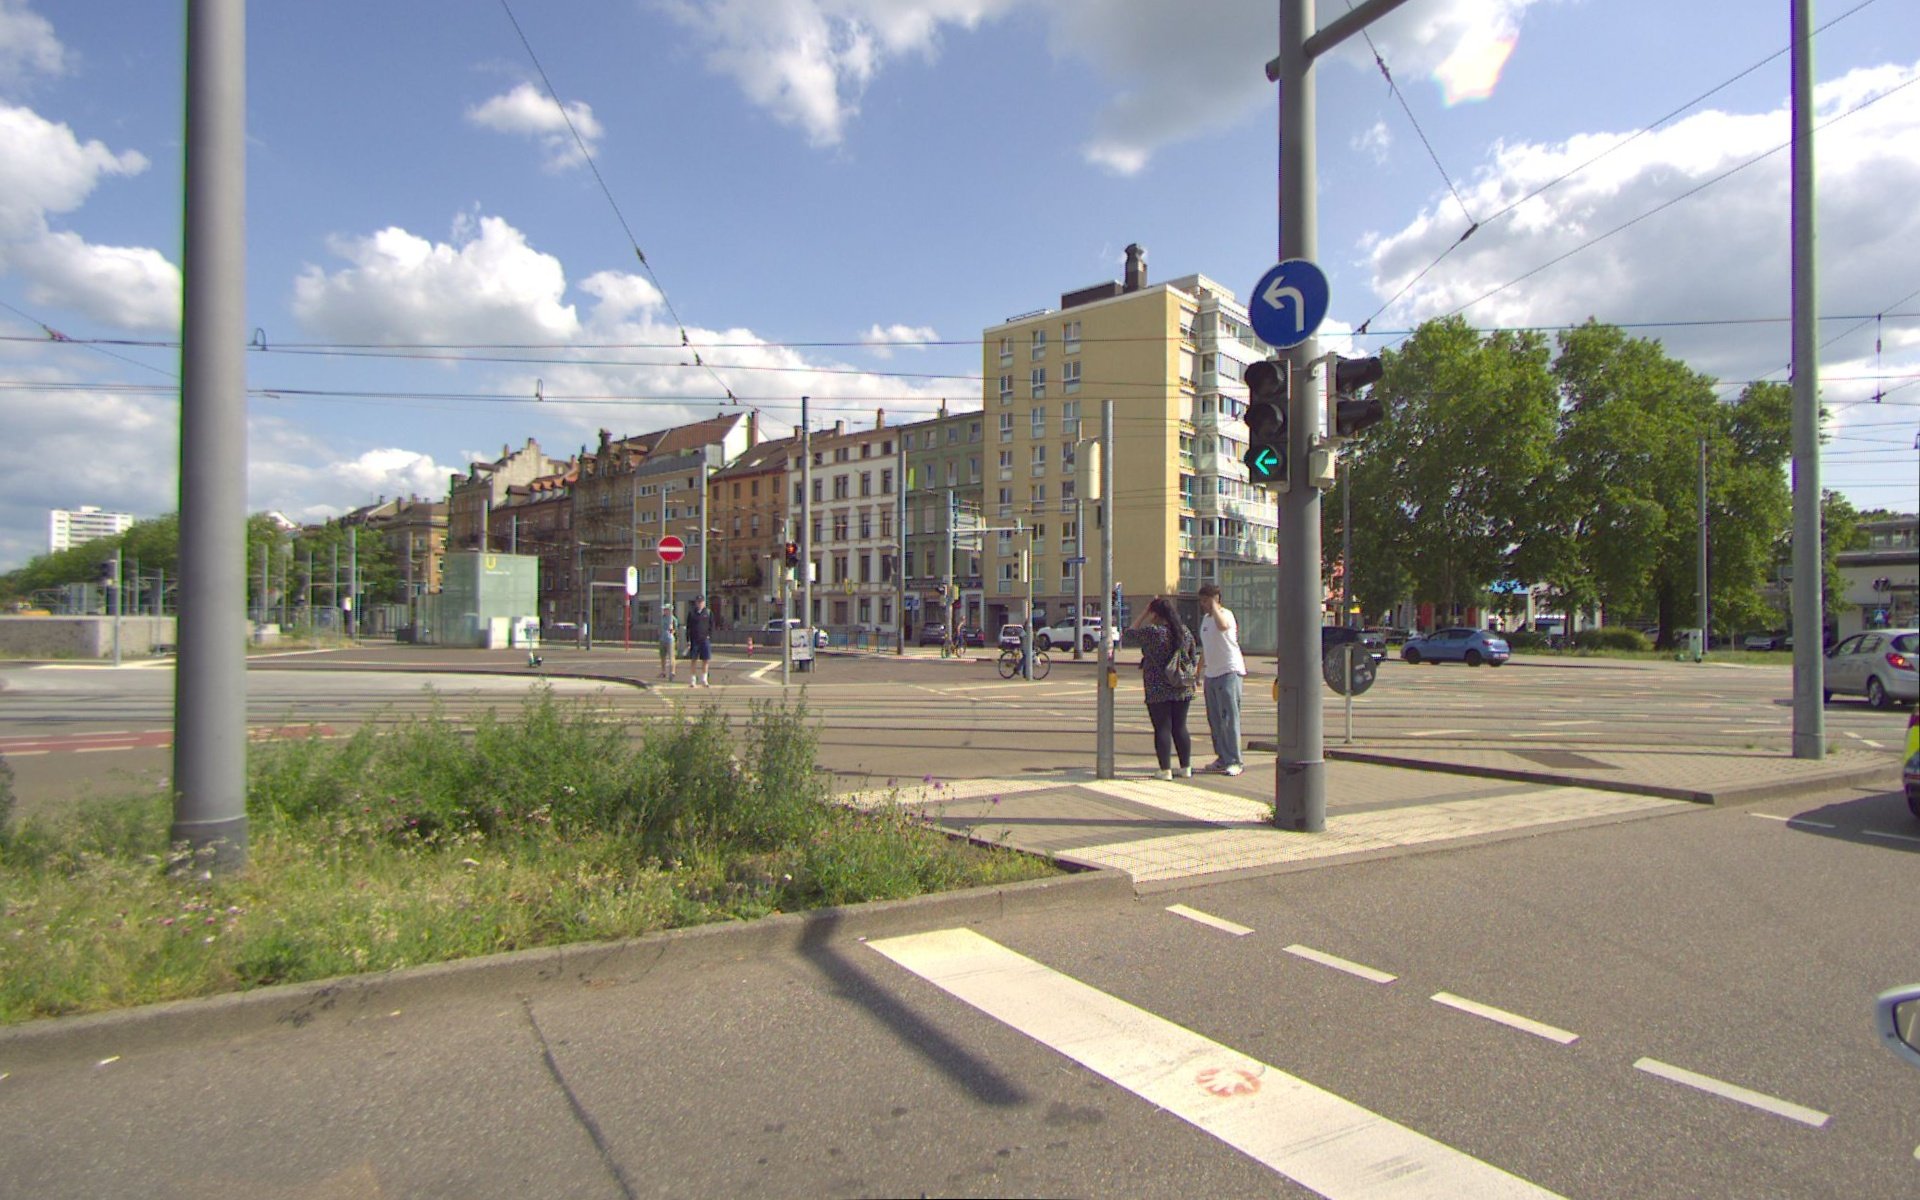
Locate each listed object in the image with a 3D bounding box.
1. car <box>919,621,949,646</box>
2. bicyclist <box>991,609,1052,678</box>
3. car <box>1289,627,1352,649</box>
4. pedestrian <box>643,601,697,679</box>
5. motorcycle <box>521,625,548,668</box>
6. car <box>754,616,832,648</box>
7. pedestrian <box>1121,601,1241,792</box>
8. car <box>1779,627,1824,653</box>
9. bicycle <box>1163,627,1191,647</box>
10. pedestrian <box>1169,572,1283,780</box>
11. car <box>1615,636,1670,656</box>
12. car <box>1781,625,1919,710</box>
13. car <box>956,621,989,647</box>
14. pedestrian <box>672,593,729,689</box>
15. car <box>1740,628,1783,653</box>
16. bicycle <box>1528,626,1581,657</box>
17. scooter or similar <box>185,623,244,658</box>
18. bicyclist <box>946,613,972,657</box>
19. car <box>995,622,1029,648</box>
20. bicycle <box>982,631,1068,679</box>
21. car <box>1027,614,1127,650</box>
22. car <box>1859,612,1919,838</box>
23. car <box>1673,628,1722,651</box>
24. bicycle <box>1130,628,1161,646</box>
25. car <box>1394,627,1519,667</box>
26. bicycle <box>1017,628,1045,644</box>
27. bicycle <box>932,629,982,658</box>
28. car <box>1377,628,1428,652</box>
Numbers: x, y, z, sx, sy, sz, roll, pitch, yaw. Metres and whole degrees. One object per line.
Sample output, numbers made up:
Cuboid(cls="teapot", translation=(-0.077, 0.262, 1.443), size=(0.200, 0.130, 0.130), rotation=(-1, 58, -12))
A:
Cuboid(cls="car", translation=(-1.678, 2.189, 65.359), size=(1.863, 1.516, 3.900), rotation=(2, -2, -2))
Cuboid(cls="bicyclist", translation=(1.615, 1.146, 26.357), size=(0.986, 1.754, 1.287), rotation=(2, -2, -38))
Cuboid(cls="car", translation=(26.221, 2.719, 73.041), size=(3.940, 1.515, 1.795), rotation=(0, -2, 40))
Cuboid(cls="pedestrian", translation=(-6.971, 0.952, 24.149), size=(1.017, 1.821, 0.761), rotation=(2, 0, -32))
Cuboid(cls="motorcycle", translation=(-12.792, 1.378, 30.184), size=(0.479, 1.253, 1.434), rotation=(2, -2, -33))
Cuboid(cls="car", translation=(-9.072, 1.710, 54.550), size=(4.227, 1.661, 2.032), rotation=(-1, -2, 43))
Cuboid(cls="pedestrian", translation=(2.041, 0.863, 9.328), size=(0.686, 1.669, 0.842), rotation=(2, -2, -36))
Cuboid(cls="car", translation=(67.004, 3.201, 79.961), size=(4.197, 2.040, 1.977), rotation=(3, -4, -40))
Cuboid(cls="bicycle", translation=(14.028, 2.367, 64.861), size=(1.795, 1.275, 0.788), rotation=(2, -1, -40))
Cuboid(cls="pedestrian", translation=(2.627, 0.730, 9.932), size=(0.686, 1.942, 0.842), rotation=(2, -2, -36))
Cuboid(cls="car", translation=(65.516, 4.401, 96.485), size=(1.819, 1.813, 3.973), rotation=(2, -3, -27))
Cuboid(cls="car", translation=(17.938, 1.250, 19.483), size=(1.817, 1.494, 4.001), rotation=(0, -1, 19))
Cuboid(cls="car", translation=(0.759, 2.156, 62.941), size=(1.863, 1.516, 3.900), rotation=(2, -2, -2))
Cuboid(cls="pedestrian", translation=(-5.456, 0.846, 21.118), size=(0.753, 1.928, 0.826), rotation=(2, 0, 23))
Cuboid(cls="car", translation=(65.705, 3.329, 82.282), size=(4.197, 1.962, 1.951), rotation=(3, -4, -40))
Cuboid(cls="bicycle", translation=(29.357, 2.028, 49.636), size=(2.142, 1.433, 0.808), rotation=(1, 0, 40))
Cuboid(cls="scooter or similar", translation=(-26.044, 1.392, 35.126), size=(0.836, 1.120, 1.645), rotation=(2, 0, -2))
Cuboid(cls="bicyclist", translation=(-0.057, 1.486, 42.449), size=(0.767, 1.821, 0.708), rotation=(2, 0, 35))
Cuboid(cls="car", translation=(3.198, 2.192, 62.217), size=(1.862, 1.516, 3.900), rotation=(1, -2, 0))
Cuboid(cls="bicycle", translation=(1.675, 1.417, 26.262), size=(0.986, 1.204, 2.276), rotation=(2, -2, -38))
Cuboid(cls="car", translation=(5.613, 1.502, 48.386), size=(4.477, 1.599, 2.034), rotation=(1, -1, 44))
Cuboid(cls="car", translation=(9.023, 0.938, 7.793), size=(4.564, 1.589, 1.869), rotation=(1, 0, -32))
Cuboid(cls="car", translation=(63.675, 3.434, 86.699), size=(5.021, 1.962, 1.954), rotation=(3, -4, -36))
Cuboid(cls="bicycle", translation=(11.941, 2.389, 64.584), size=(1.780, 1.118, 0.794), rotation=(0, -1, 36))
Cuboid(cls="car", translation=(18.940, 1.772, 38.473), size=(1.724, 1.395, 3.963), rotation=(2, -1, -34))
Cuboid(cls="bicycle", translation=(4.954, 2.526, 70.416), size=(1.780, 1.118, 0.794), rotation=(0, -1, 36))
Cuboid(cls="bicycle", translation=(-0.103, 1.820, 42.420), size=(0.875, 1.153, 2.349), rotation=(2, 0, 35))
Cuboid(cls="car", translation=(28.780, 2.603, 65.289), size=(1.885, 1.432, 3.979), rotation=(-1, -3, 42))
